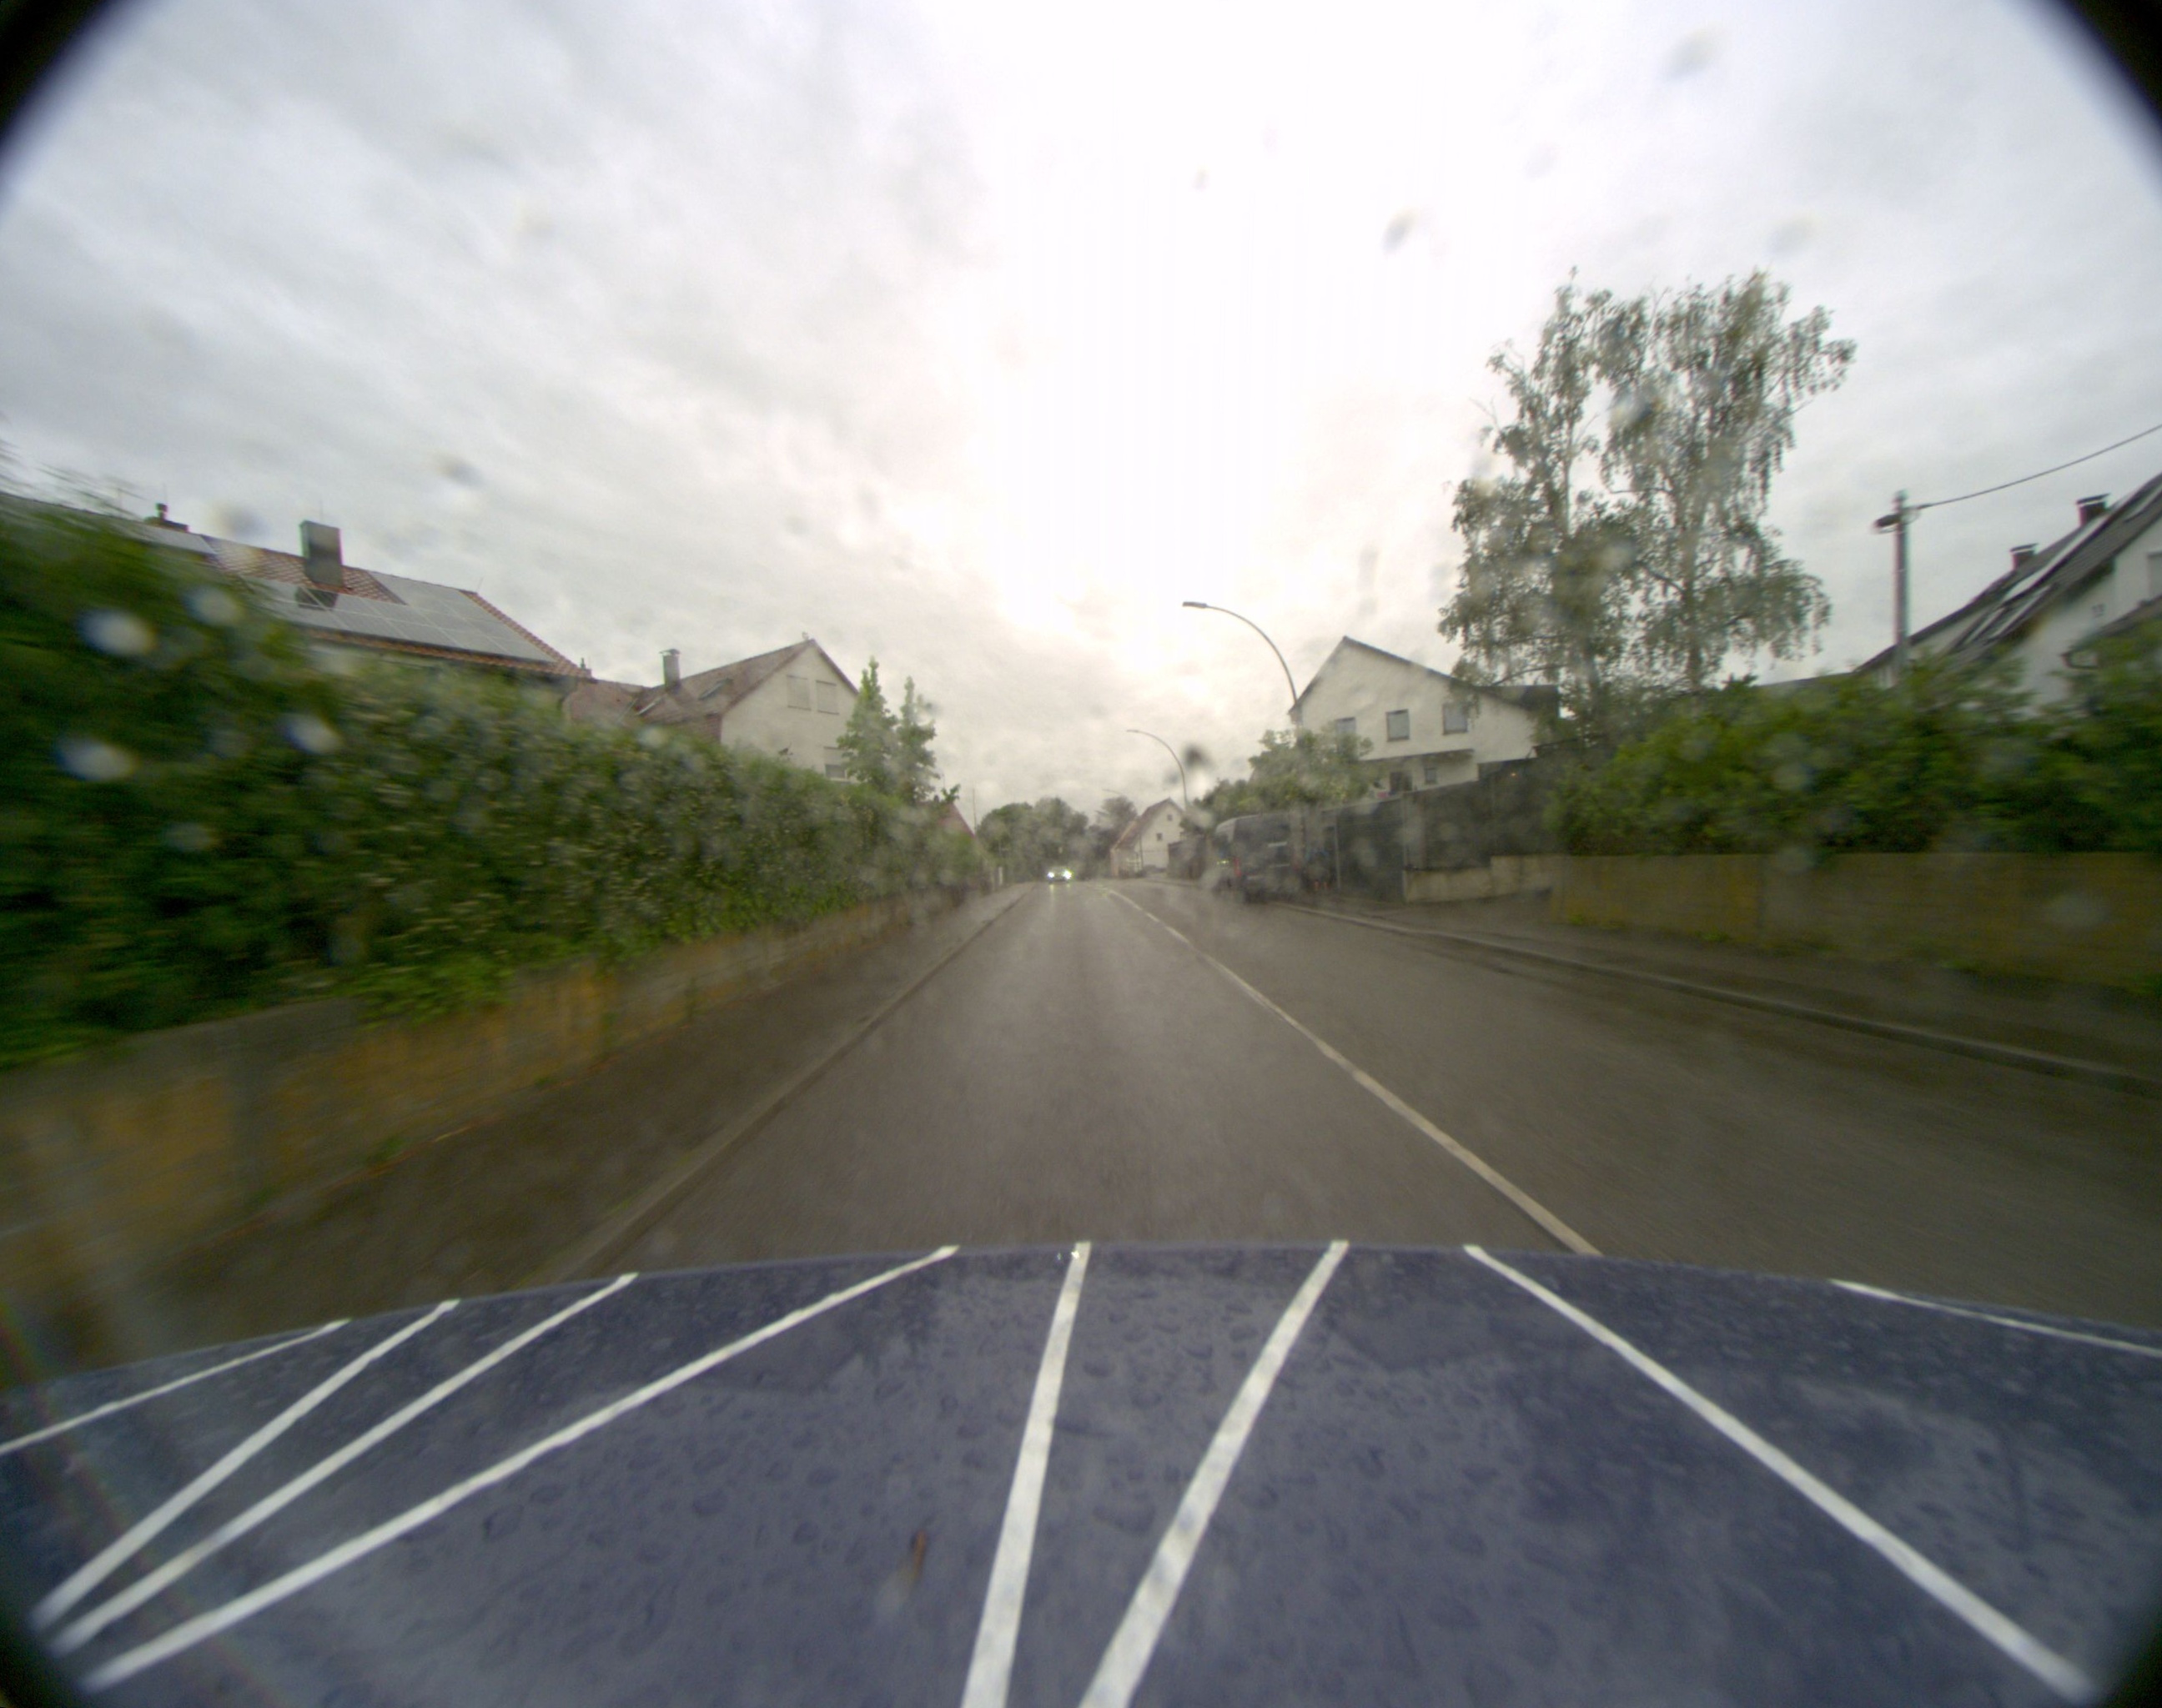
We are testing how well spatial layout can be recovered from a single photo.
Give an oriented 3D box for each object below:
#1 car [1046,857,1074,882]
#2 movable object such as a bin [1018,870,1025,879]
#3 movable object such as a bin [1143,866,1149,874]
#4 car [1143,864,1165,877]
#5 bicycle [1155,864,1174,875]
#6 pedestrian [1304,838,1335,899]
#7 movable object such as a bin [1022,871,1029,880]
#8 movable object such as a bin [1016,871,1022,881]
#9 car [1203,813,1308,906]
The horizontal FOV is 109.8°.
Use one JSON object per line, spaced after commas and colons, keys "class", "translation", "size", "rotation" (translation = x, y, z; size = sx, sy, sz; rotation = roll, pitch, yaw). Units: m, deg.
{"class": "car", "translation": [-1.851, 1.391, 65.978], "size": [2.000, 2.001, 3.998], "rotation": [-3, -1, -7]}
{"class": "movable object such as a bin", "translation": [-6.418, 2.213, 81.662], "size": [0.628, 1.015, 0.541], "rotation": [-1, -1, 3]}
{"class": "movable object such as a bin", "translation": [8.248, 2.049, 96.587], "size": [0.639, 1.026, 0.674], "rotation": [-2, -1, 11]}
{"class": "car", "translation": [8.787, 1.976, 90.972], "size": [1.904, 1.433, 3.834], "rotation": [-5, -3, 16]}
{"class": "bicycle", "translation": [10.384, 1.931, 94.258], "size": [2.101, 1.107, 0.738], "rotation": [-6, 0, 14]}
{"class": "pedestrian", "translation": [7.481, 0.451, 23.815], "size": [0.679, 1.875, 0.811], "rotation": [-2, 1, 31]}
{"class": "movable object such as a bin", "translation": [-6.040, 2.377, 83.215], "size": [0.530, 1.015, 0.734], "rotation": [-2, -1, 17]}
{"class": "movable object such as a bin", "translation": [-6.777, 2.424, 82.990], "size": [0.443, 1.015, 0.526], "rotation": [-2, -1, 28]}
{"class": "car", "translation": [5.743, 0.185, 25.891], "size": [2.099, 2.633, 5.919], "rotation": [-4, 0, 1]}
